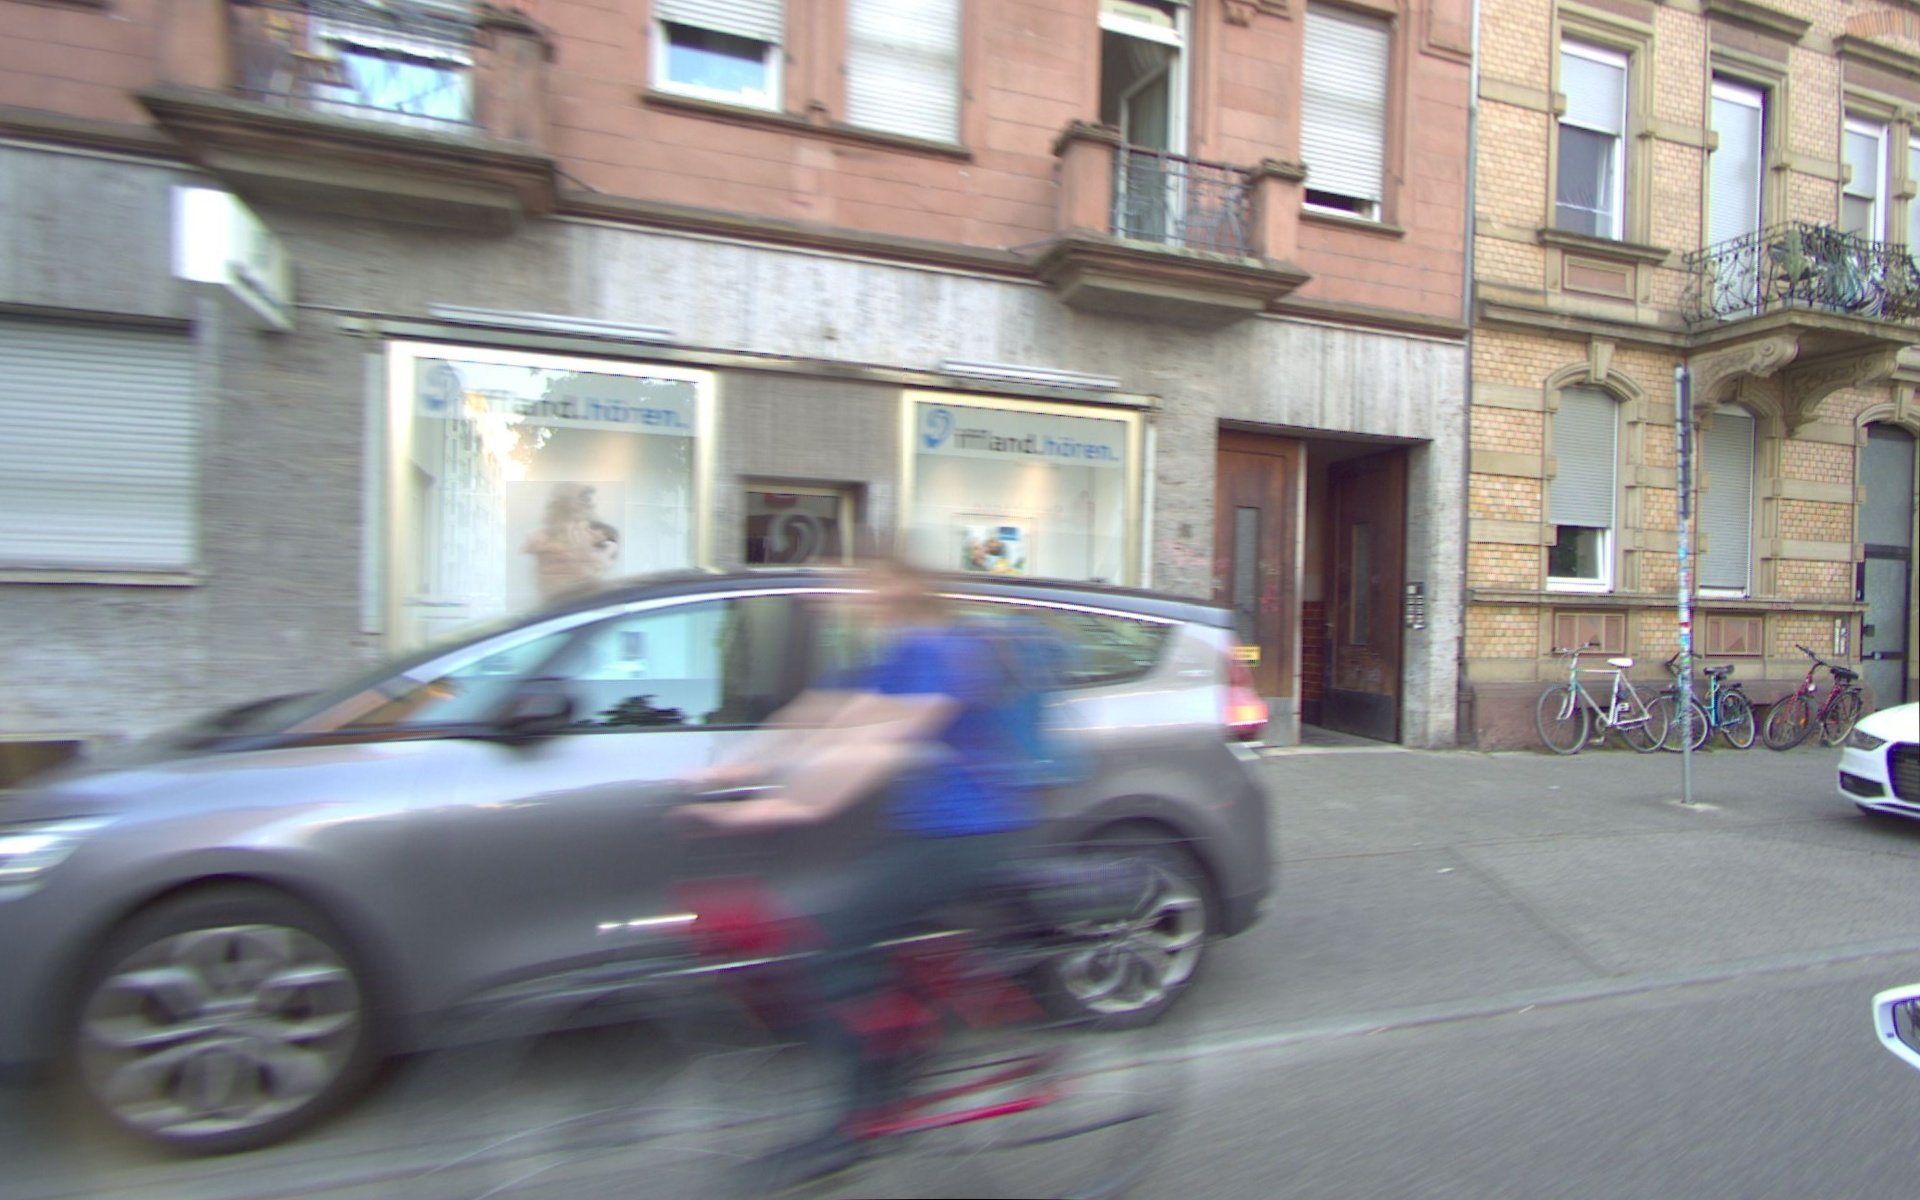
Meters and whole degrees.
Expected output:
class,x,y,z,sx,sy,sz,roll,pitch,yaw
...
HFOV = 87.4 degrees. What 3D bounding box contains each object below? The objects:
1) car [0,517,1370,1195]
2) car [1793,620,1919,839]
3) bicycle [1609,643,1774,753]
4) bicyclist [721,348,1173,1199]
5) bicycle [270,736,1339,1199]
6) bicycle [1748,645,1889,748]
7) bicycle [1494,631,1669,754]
class,x,y,z,sx,sy,sz,roll,pitch,yaw
car,-0.845,0.633,3.924,4.376,1.655,1.851,1,1,-19
car,8.543,0.914,7.296,4.438,1.431,1.756,1,1,-19
bicycle,7.620,0.995,10.465,1.599,1.050,0.564,1,1,-19
bicyclist,-0.062,0.352,2.371,0.904,1.642,0.644,1,-1,-19
bicycle,-0.222,0.923,2.302,2.135,1.095,0.644,1,-1,-19
bicycle,9.547,1.037,11.164,1.603,1.041,0.590,1,1,-26
bicycle,6.218,0.904,10.051,1.704,1.147,0.515,1,1,-19
